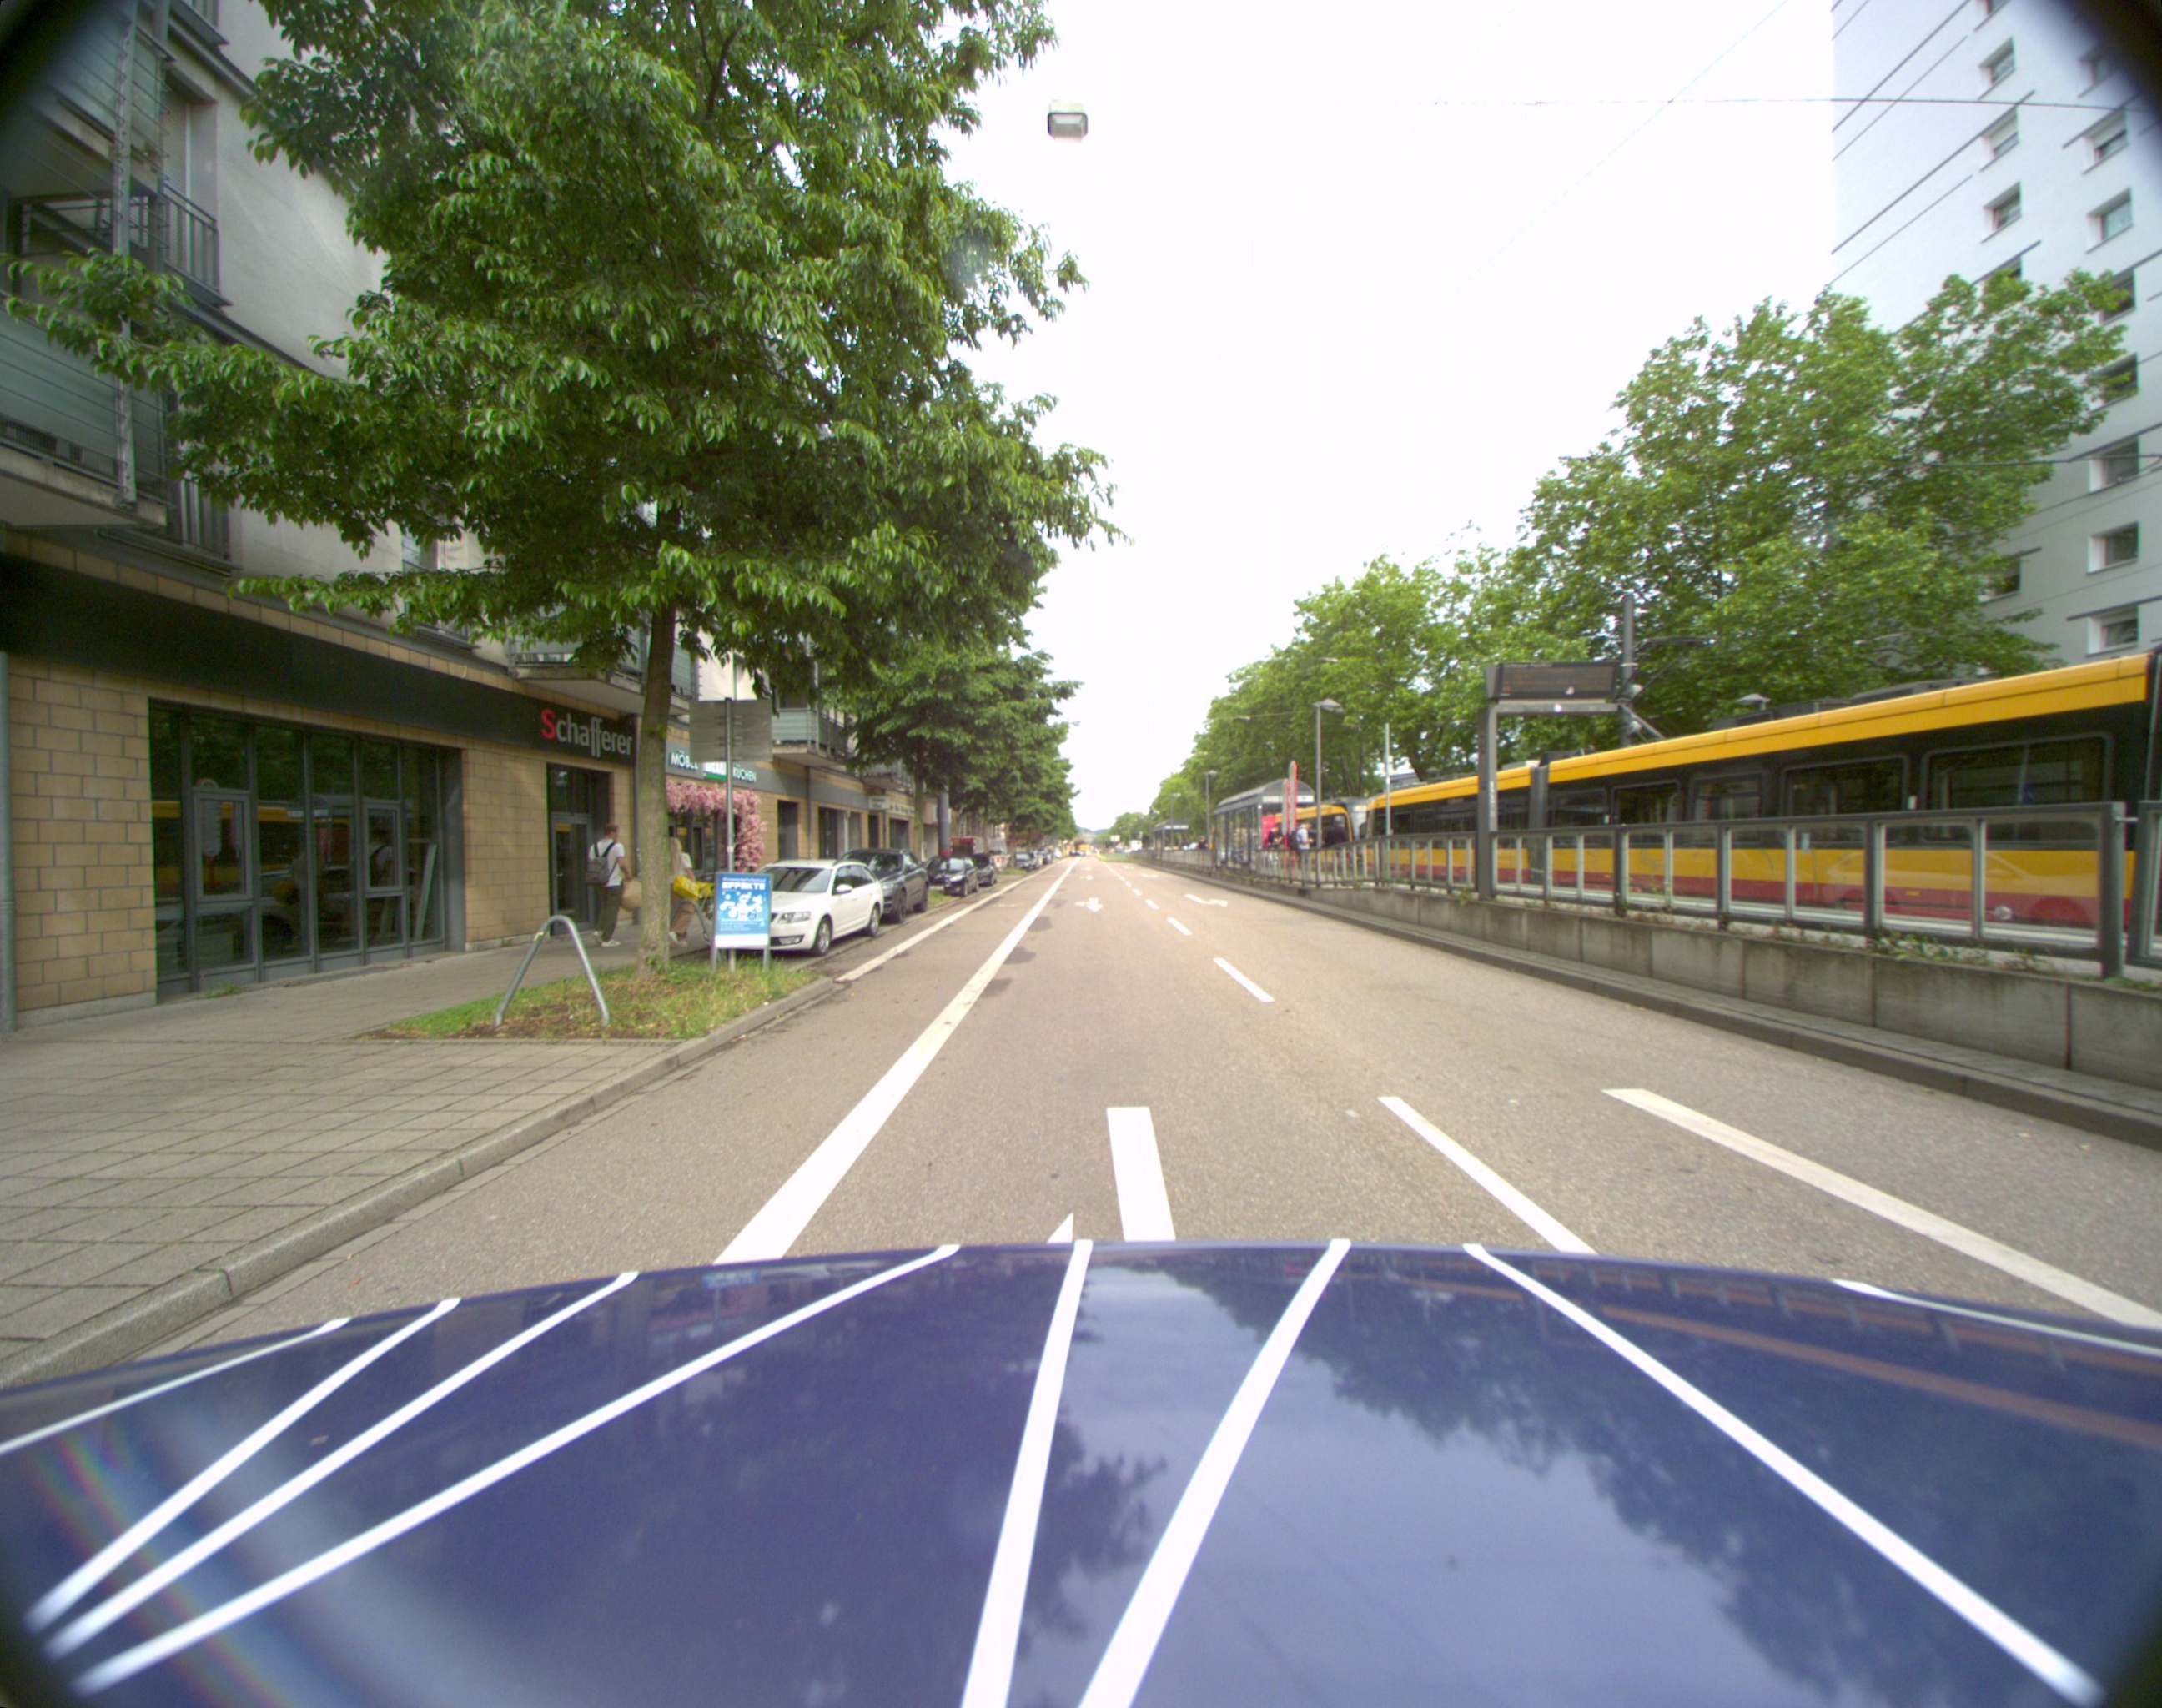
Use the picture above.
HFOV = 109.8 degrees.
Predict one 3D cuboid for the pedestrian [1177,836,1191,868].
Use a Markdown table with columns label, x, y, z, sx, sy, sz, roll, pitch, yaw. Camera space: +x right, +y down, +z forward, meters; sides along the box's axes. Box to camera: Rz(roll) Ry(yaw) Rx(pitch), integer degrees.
| label | x | y | z | sx | sy | sz | roll | pitch | yaw |
| --- | --- | --- | --- | --- | --- | --- | --- | --- | --- |
| pedestrian | 6.593 | -0.146 | 48.610 | 0.676 | 2.002 | 0.588 | -2 | 1 | -2 |

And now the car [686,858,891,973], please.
| label | x | y | z | sx | sy | sz | roll | pitch | yaw |
| --- | --- | --- | --- | --- | --- | --- | --- | --- | --- |
| car | -4.712 | 0.891 | 12.993 | 1.680 | 1.490 | 4.389 | 2 | 1 | 2 |

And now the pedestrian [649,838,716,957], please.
| label | x | y | z | sx | sy | sz | roll | pitch | yaw |
| --- | --- | --- | --- | --- | --- | --- | --- | --- | --- |
| pedestrian | -6.181 | 0.658 | 11.812 | 0.617 | 1.795 | 0.737 | 0 | 1 | 2 |

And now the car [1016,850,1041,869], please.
| label | x | y | z | sx | sy | sz | roll | pitch | yaw |
| --- | --- | --- | --- | --- | --- | --- | --- | --- | --- |
| car | -4.301 | 0.448 | 62.401 | 1.755 | 1.452 | 4.279 | 1 | 1 | 0 |

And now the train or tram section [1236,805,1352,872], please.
| label | x | y | z | sx | sy | sz | roll | pitch | yaw |
| --- | --- | --- | --- | --- | --- | --- | --- | --- | --- |
| train or tram section | 13.005 | -0.953 | 48.620 | 3.067 | 3.511 | 15.769 | -2 | 1 | 1 |

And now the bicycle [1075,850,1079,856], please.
| label | x | y | z | sx | sy | sz | roll | pitch | yaw |
| --- | --- | --- | --- | --- | --- | --- | --- | --- | --- |
| bicycle | -0.818 | -0.227 | 151.824 | 0.613 | 1.116 | 2.050 | -2 | 1 | 1 |

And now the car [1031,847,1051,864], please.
| label | x | y | z | sx | sy | sz | roll | pitch | yaw |
| --- | --- | --- | --- | --- | --- | --- | --- | --- | --- |
| car | -4.092 | 0.144 | 78.810 | 1.837 | 1.720 | 4.279 | 1 | 1 | 0 |

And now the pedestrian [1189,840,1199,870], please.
| label | x | y | z | sx | sy | sz | roll | pitch | yaw |
| --- | --- | --- | --- | --- | --- | --- | --- | --- | --- |
| pedestrian | 6.133 | 0.036 | 41.278 | 0.480 | 1.623 | 0.392 | -2 | 1 | 2 |

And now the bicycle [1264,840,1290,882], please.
| label | x | y | z | sx | sy | sz | roll | pitch | yaw |
| --- | --- | --- | --- | --- | --- | --- | --- | --- | --- |
| bicycle | 5.927 | 0.193 | 23.047 | 0.420 | 1.215 | 1.289 | -2 | 1 | 0 |

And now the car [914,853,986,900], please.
| label | x | y | z | sx | sy | sz | roll | pitch | yaw |
| --- | --- | --- | --- | --- | --- | --- | --- | --- | --- |
| car | -4.617 | 0.741 | 27.361 | 1.680 | 1.433 | 4.407 | 2 | 1 | 2 |

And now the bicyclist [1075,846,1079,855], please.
| label | x | y | z | sx | sy | sz | roll | pitch | yaw |
| --- | --- | --- | --- | --- | --- | --- | --- | --- | --- |
| bicyclist | -0.782 | -0.677 | 152.026 | 0.751 | 1.777 | 0.838 | -2 | 1 | 1 |

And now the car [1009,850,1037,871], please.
| label | x | y | z | sx | sy | sz | roll | pitch | yaw |
| --- | --- | --- | --- | --- | --- | --- | --- | --- | --- |
| car | -4.292 | 0.461 | 56.505 | 1.755 | 1.452 | 4.279 | 1 | 1 | 0 |

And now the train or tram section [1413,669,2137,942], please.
| label | x | y | z | sx | sy | sz | roll | pitch | yaw |
| --- | --- | --- | --- | --- | --- | --- | --- | --- | --- |
| train or tram section | 12.625 | -0.760 | 17.785 | 3.067 | 3.511 | 15.292 | -2 | 1 | 1 |

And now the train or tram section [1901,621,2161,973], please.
| label | x | y | z | sx | sy | sz | roll | pitch | yaw |
| --- | --- | --- | --- | --- | --- | --- | --- | --- | --- |
| train or tram section | 12.442 | -0.544 | 2.237 | 3.067 | 3.568 | 15.846 | -2 | 1 | 1 |

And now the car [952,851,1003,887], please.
| label | x | y | z | sx | sy | sz | roll | pitch | yaw |
| --- | --- | --- | --- | --- | --- | --- | --- | --- | --- |
| car | -4.704 | 0.633 | 35.125 | 1.802 | 1.447 | 4.387 | 2 | 1 | -1 |

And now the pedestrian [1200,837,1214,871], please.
| label | x | y | z | sx | sy | sz | roll | pitch | yaw |
| --- | --- | --- | --- | --- | --- | --- | --- | --- | --- |
| pedestrian | 6.037 | -0.013 | 36.359 | 0.513 | 1.623 | 0.730 | -2 | 1 | 2 |

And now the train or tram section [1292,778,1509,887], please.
| label | x | y | z | sx | sy | sz | roll | pitch | yaw |
| --- | --- | --- | --- | --- | --- | --- | --- | --- | --- |
| train or tram section | 12.825 | -0.841 | 33.097 | 3.067 | 3.511 | 15.292 | -2 | 1 | 1 |

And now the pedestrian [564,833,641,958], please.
| label | x | y | z | sx | sy | sz | roll | pitch | yaw |
| --- | --- | --- | --- | --- | --- | --- | --- | --- | --- |
| pedestrian | -7.431 | 0.624 | 11.828 | 0.676 | 1.880 | 0.737 | 0 | 1 | 2 |

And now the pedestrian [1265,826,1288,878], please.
| label | x | y | z | sx | sy | sz | roll | pitch | yaw |
| --- | --- | --- | --- | --- | --- | --- | --- | --- | --- |
| pedestrian | 6.226 | -0.061 | 24.204 | 0.532 | 1.623 | 0.471 | -2 | 1 | -2 |

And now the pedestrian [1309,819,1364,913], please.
| label | x | y | z | sx | sy | sz | roll | pitch | yaw |
| --- | --- | --- | --- | --- | --- | --- | --- | --- | --- |
| pedestrian | 5.656 | 0.245 | 16.820 | 0.756 | 2.002 | 0.816 | -3 | 2 | -36 |

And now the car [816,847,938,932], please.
| label | x | y | z | sx | sy | sz | roll | pitch | yaw |
| --- | --- | --- | --- | --- | --- | --- | --- | --- | --- |
| car | -4.750 | 0.735 | 18.407 | 1.716 | 1.707 | 4.710 | 2 | 1 | -1 |

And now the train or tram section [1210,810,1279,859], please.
| label | x | y | z | sx | sy | sz | roll | pitch | yaw |
| --- | --- | --- | --- | --- | --- | --- | --- | --- | --- |
| train or tram section | 13.202 | -1.528 | 62.767 | 3.100 | 3.541 | 12.537 | -2 | 1 | 1 |

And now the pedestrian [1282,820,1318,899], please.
| label | x | y | z | sx | sy | sz | roll | pitch | yaw |
| --- | --- | --- | --- | --- | --- | --- | --- | --- | --- |
| pedestrian | 5.693 | 0.130 | 19.721 | 0.753 | 2.002 | 0.819 | -2 | 2 | 24 |

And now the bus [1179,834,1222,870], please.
| label | x | y | z | sx | sy | sz | roll | pitch | yaw |
| --- | --- | --- | --- | --- | --- | --- | --- | --- | --- |
| bus | 7.304 | -0.142 | 46.789 | 1.998 | 2.002 | 3.999 | -2 | 1 | 1 |
